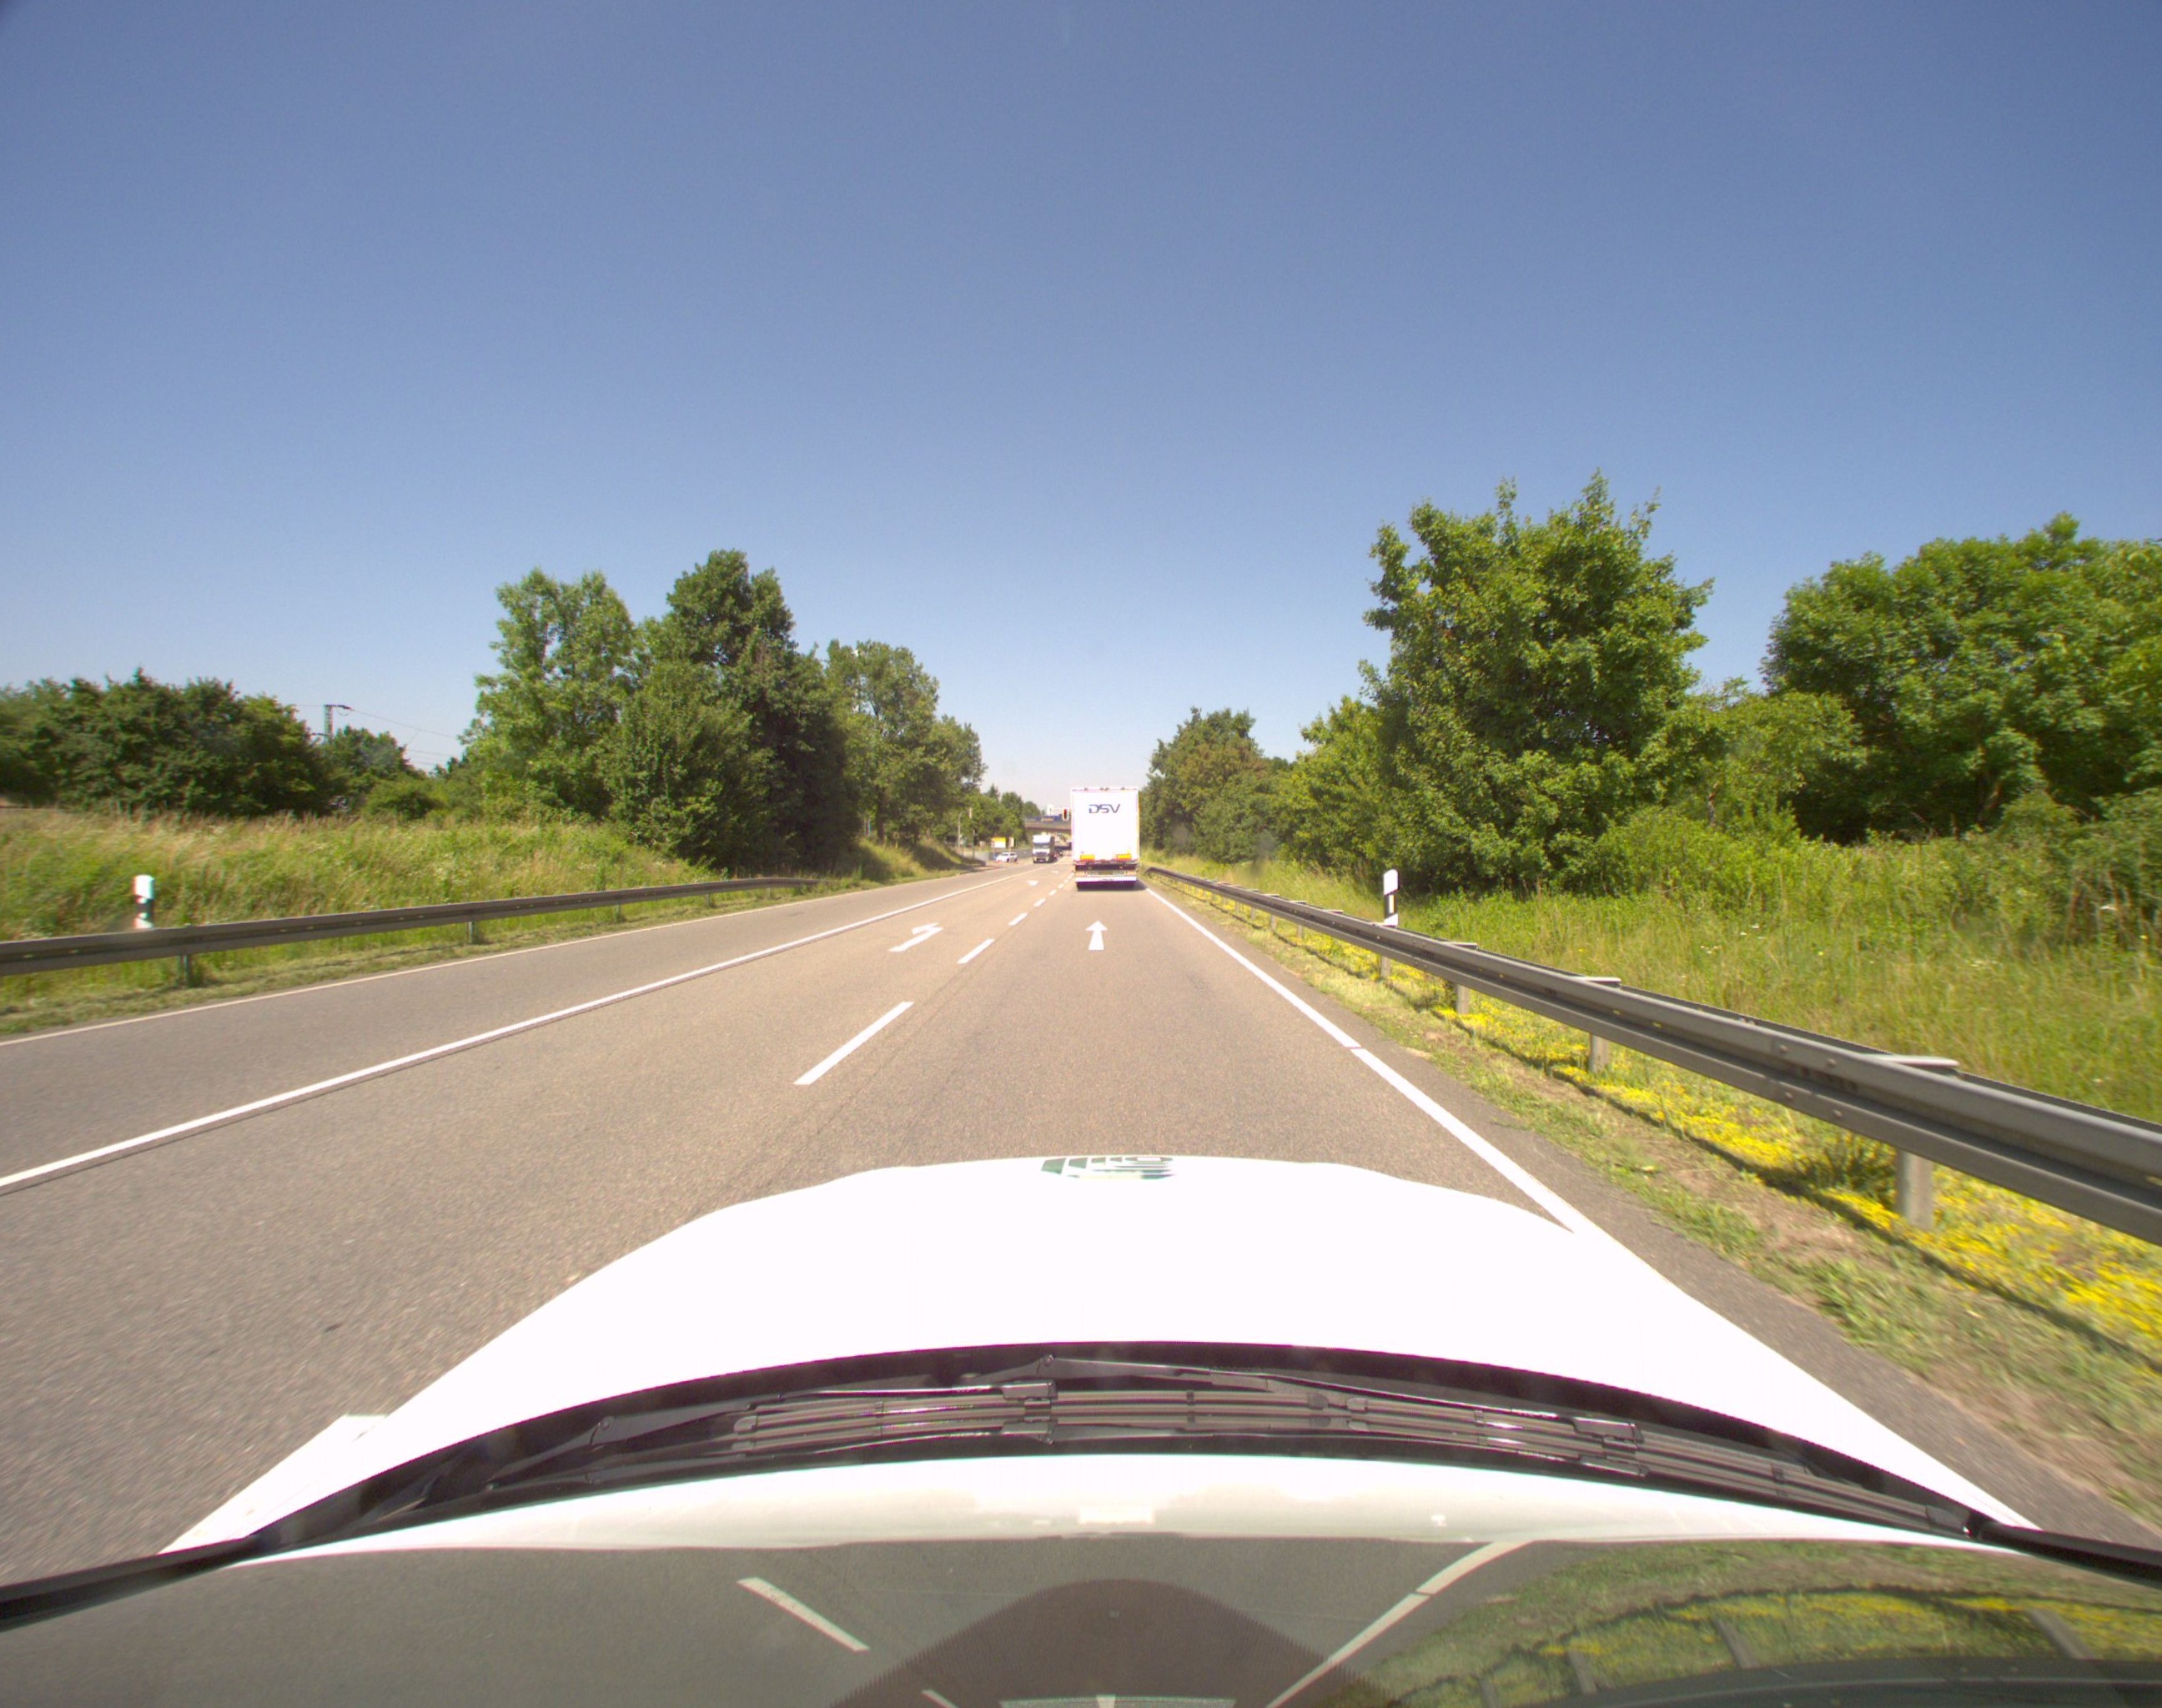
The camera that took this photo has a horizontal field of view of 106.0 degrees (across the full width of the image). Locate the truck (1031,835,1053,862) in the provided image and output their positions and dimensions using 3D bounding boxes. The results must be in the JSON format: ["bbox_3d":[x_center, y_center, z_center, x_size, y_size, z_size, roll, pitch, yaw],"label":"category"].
[{"bbox_3d":[-5.775,-0.807,121.901,2.345,3.749,12.627,-1,1,1],"label":"truck"}]

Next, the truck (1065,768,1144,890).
[{"bbox_3d":[0.923,-0.960,35.650,2.940,4.568,9.861,-1,0,0],"label":"truck"}]

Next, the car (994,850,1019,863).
[{"bbox_3d":[-11.430,0.318,125.073,1.786,1.872,4.444,-1,1,23],"label":"car"}]

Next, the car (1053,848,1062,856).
[{"bbox_3d":[-4.841,-0.371,170.737,1.741,1.626,3.703,-1,1,0],"label":"car"}]
